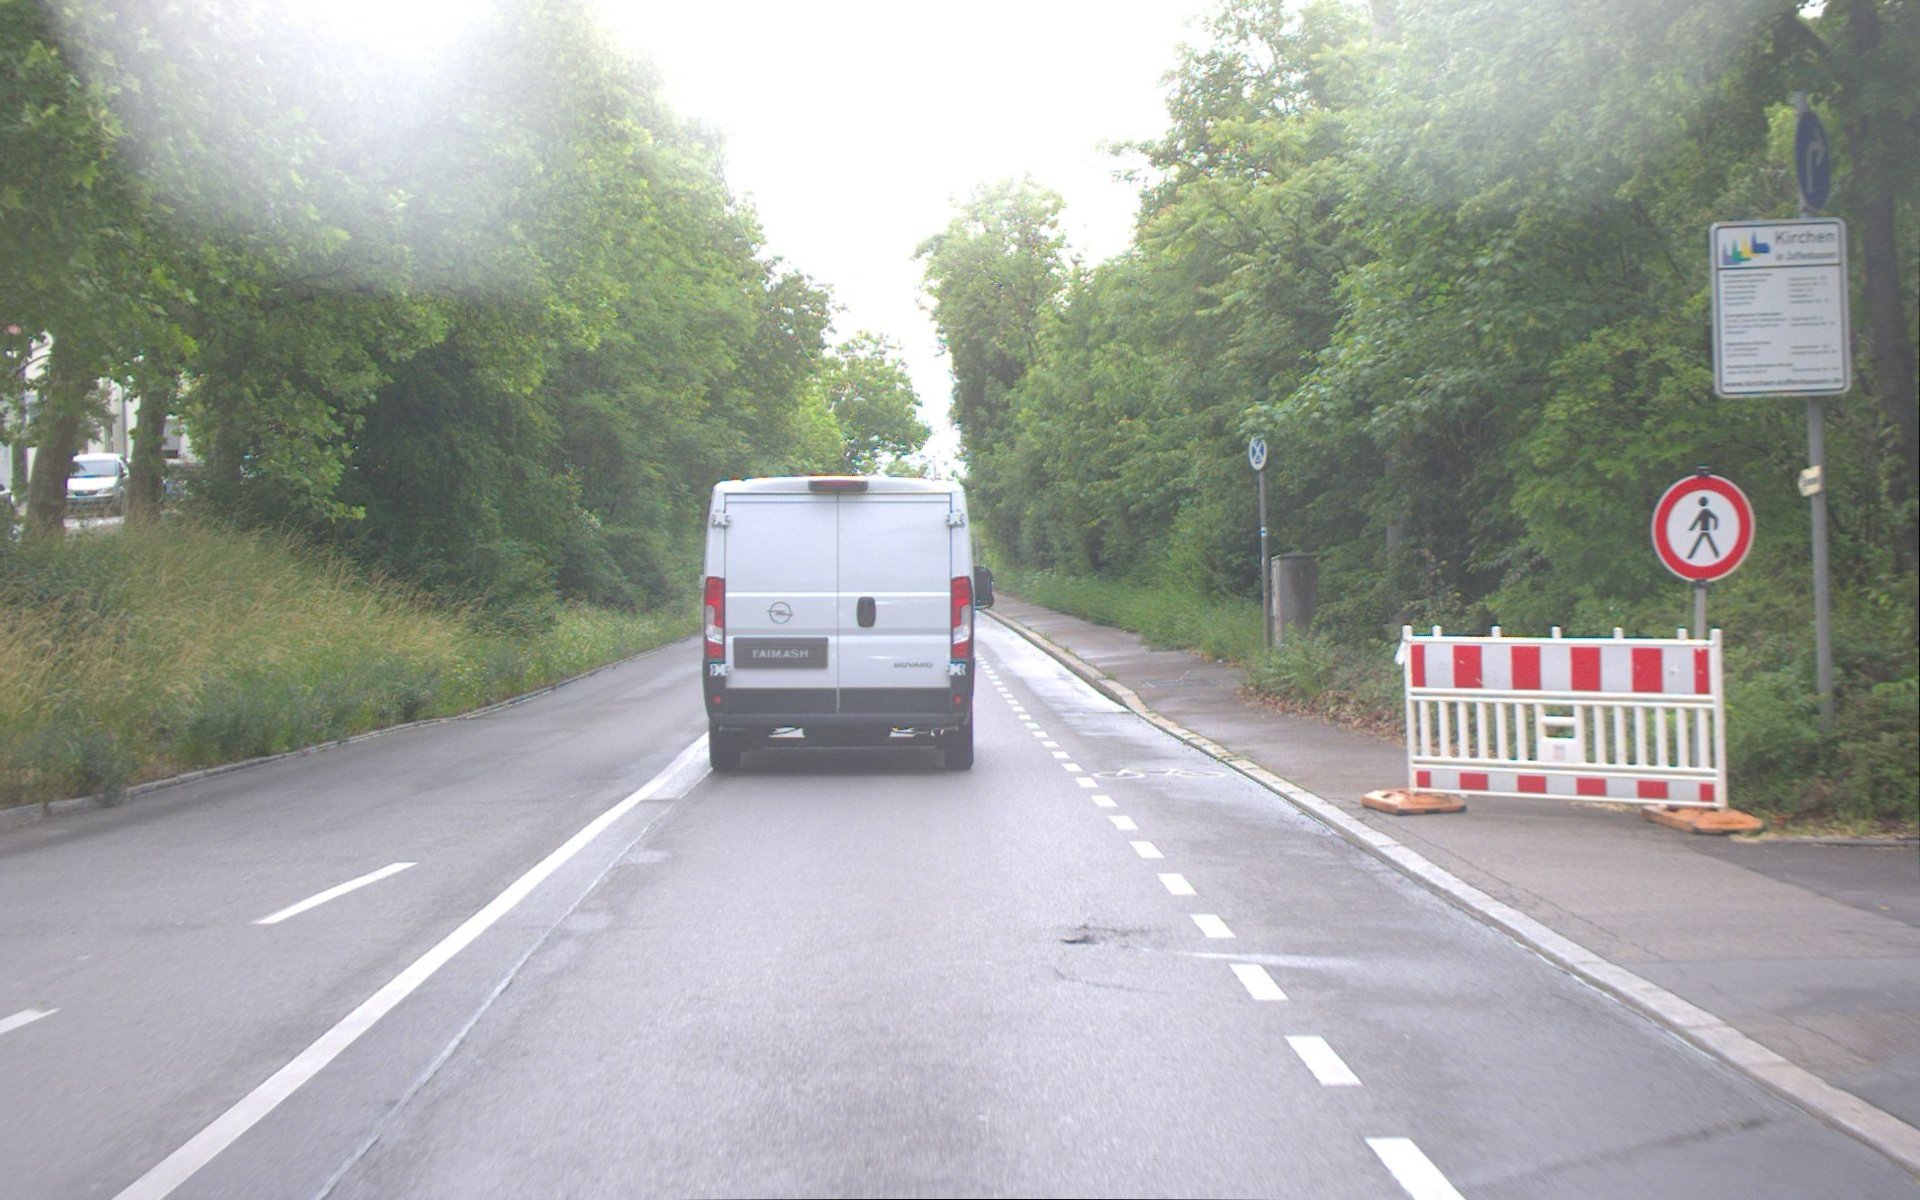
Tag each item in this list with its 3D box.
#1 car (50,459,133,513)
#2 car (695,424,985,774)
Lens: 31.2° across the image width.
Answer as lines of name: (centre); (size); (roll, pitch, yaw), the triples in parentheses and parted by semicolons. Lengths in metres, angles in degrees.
car: (-22.790, -2.983, 90.300); (1.599, 1.246, 2.911); (-2, -1, -4)
car: (-0.904, -0.056, 27.677); (2.050, 2.508, 4.944); (2, 1, -1)
